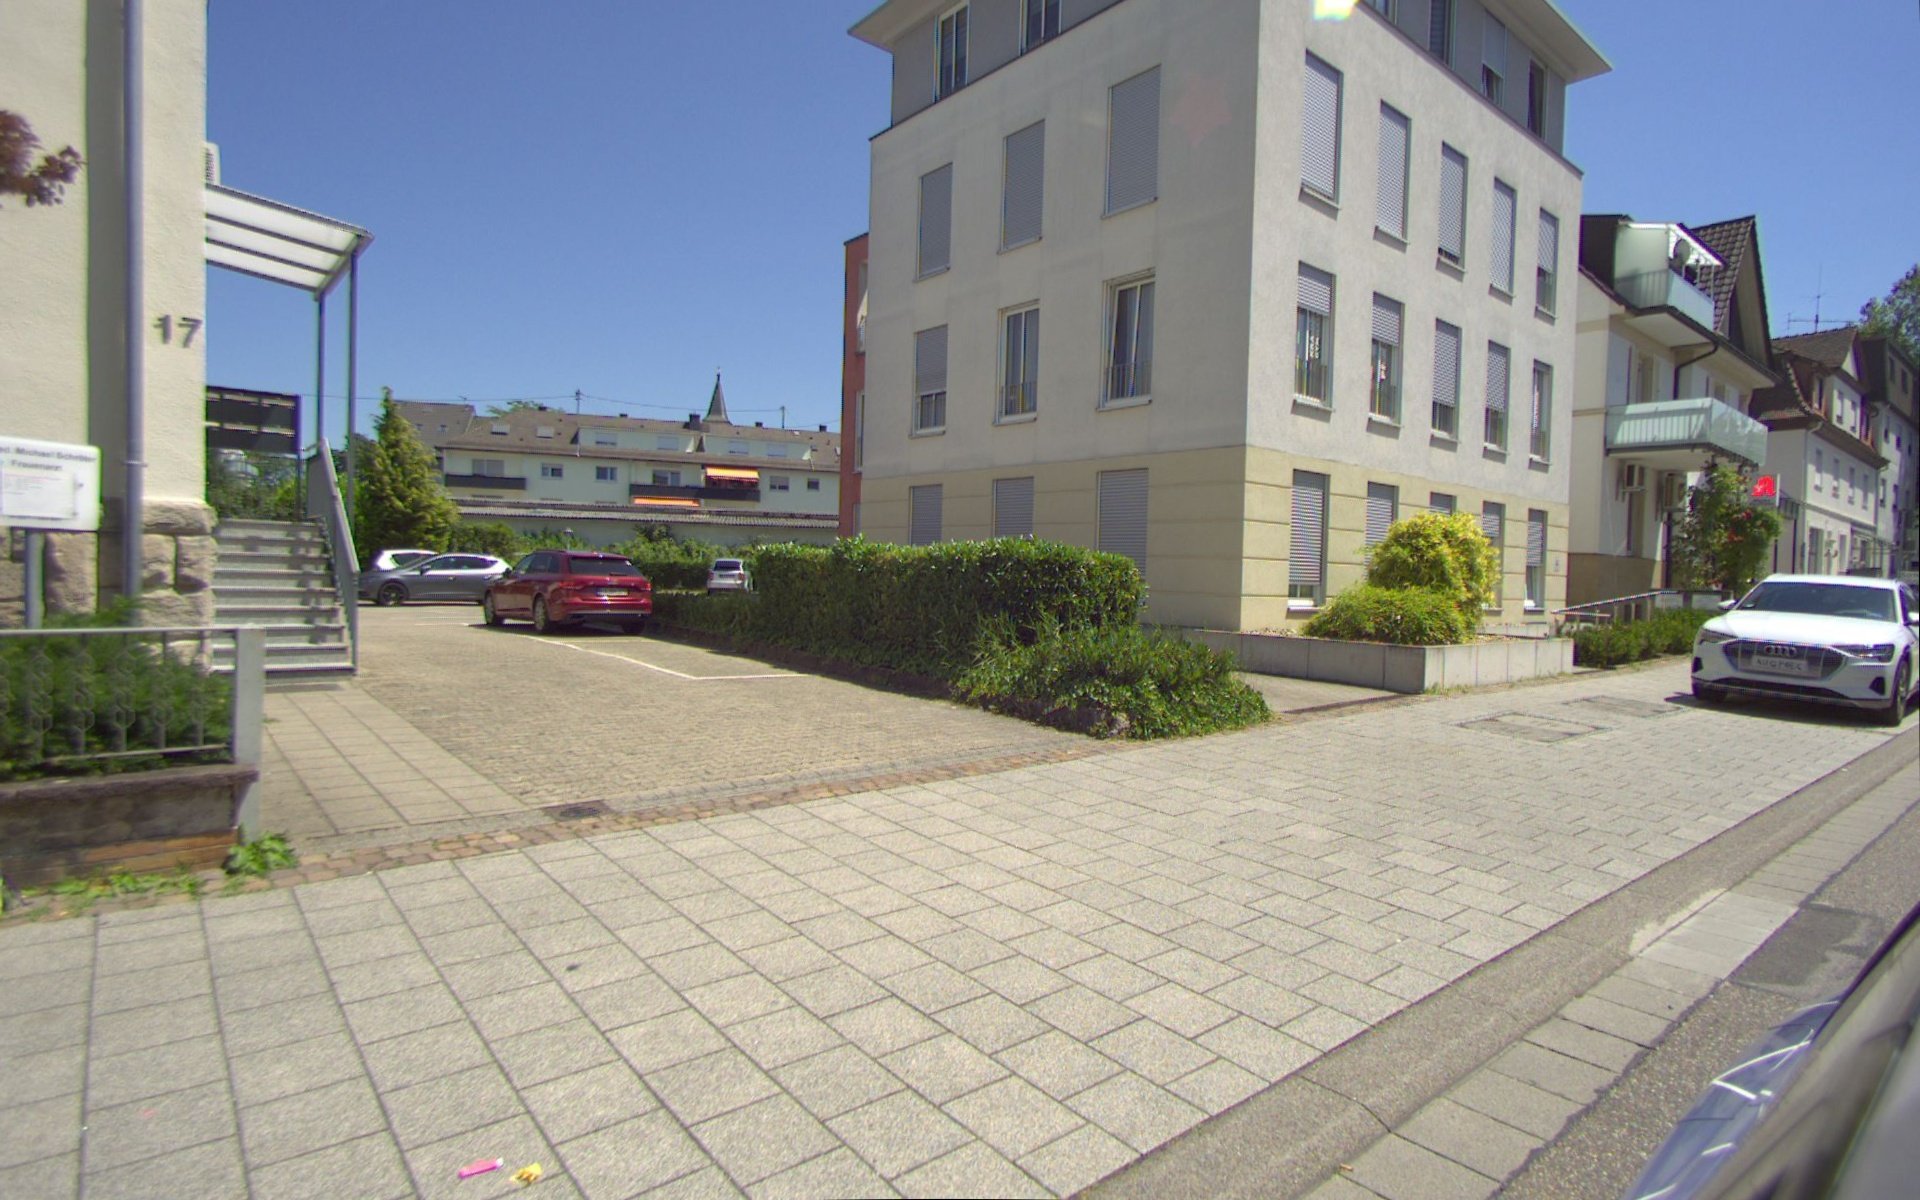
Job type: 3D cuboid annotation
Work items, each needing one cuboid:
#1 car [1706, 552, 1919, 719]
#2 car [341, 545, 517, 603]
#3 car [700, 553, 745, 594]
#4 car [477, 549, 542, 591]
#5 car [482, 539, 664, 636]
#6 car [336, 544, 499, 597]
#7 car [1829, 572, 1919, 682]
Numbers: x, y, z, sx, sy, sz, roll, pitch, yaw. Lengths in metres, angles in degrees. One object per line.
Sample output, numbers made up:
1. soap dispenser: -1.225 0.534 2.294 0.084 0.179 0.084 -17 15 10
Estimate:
1. car: 11.066 0.324 12.634 4.498 1.686 1.710 0 4 -40
2. car: -14.226 -0.684 27.207 3.929 1.437 1.805 0 2 -40
3. car: -9.832 -1.122 41.741 1.621 1.594 3.872 1 2 -16
4. car: -18.199 -1.240 40.779 1.625 1.594 3.863 0 2 -36
5. car: -7.038 -0.277 18.178 1.838 1.534 4.191 0 2 -39
6. car: -15.809 -0.836 29.560 3.929 1.437 1.805 0 2 -40
7. car: 15.865 0.406 16.518 4.663 1.575 1.710 0 4 -40
